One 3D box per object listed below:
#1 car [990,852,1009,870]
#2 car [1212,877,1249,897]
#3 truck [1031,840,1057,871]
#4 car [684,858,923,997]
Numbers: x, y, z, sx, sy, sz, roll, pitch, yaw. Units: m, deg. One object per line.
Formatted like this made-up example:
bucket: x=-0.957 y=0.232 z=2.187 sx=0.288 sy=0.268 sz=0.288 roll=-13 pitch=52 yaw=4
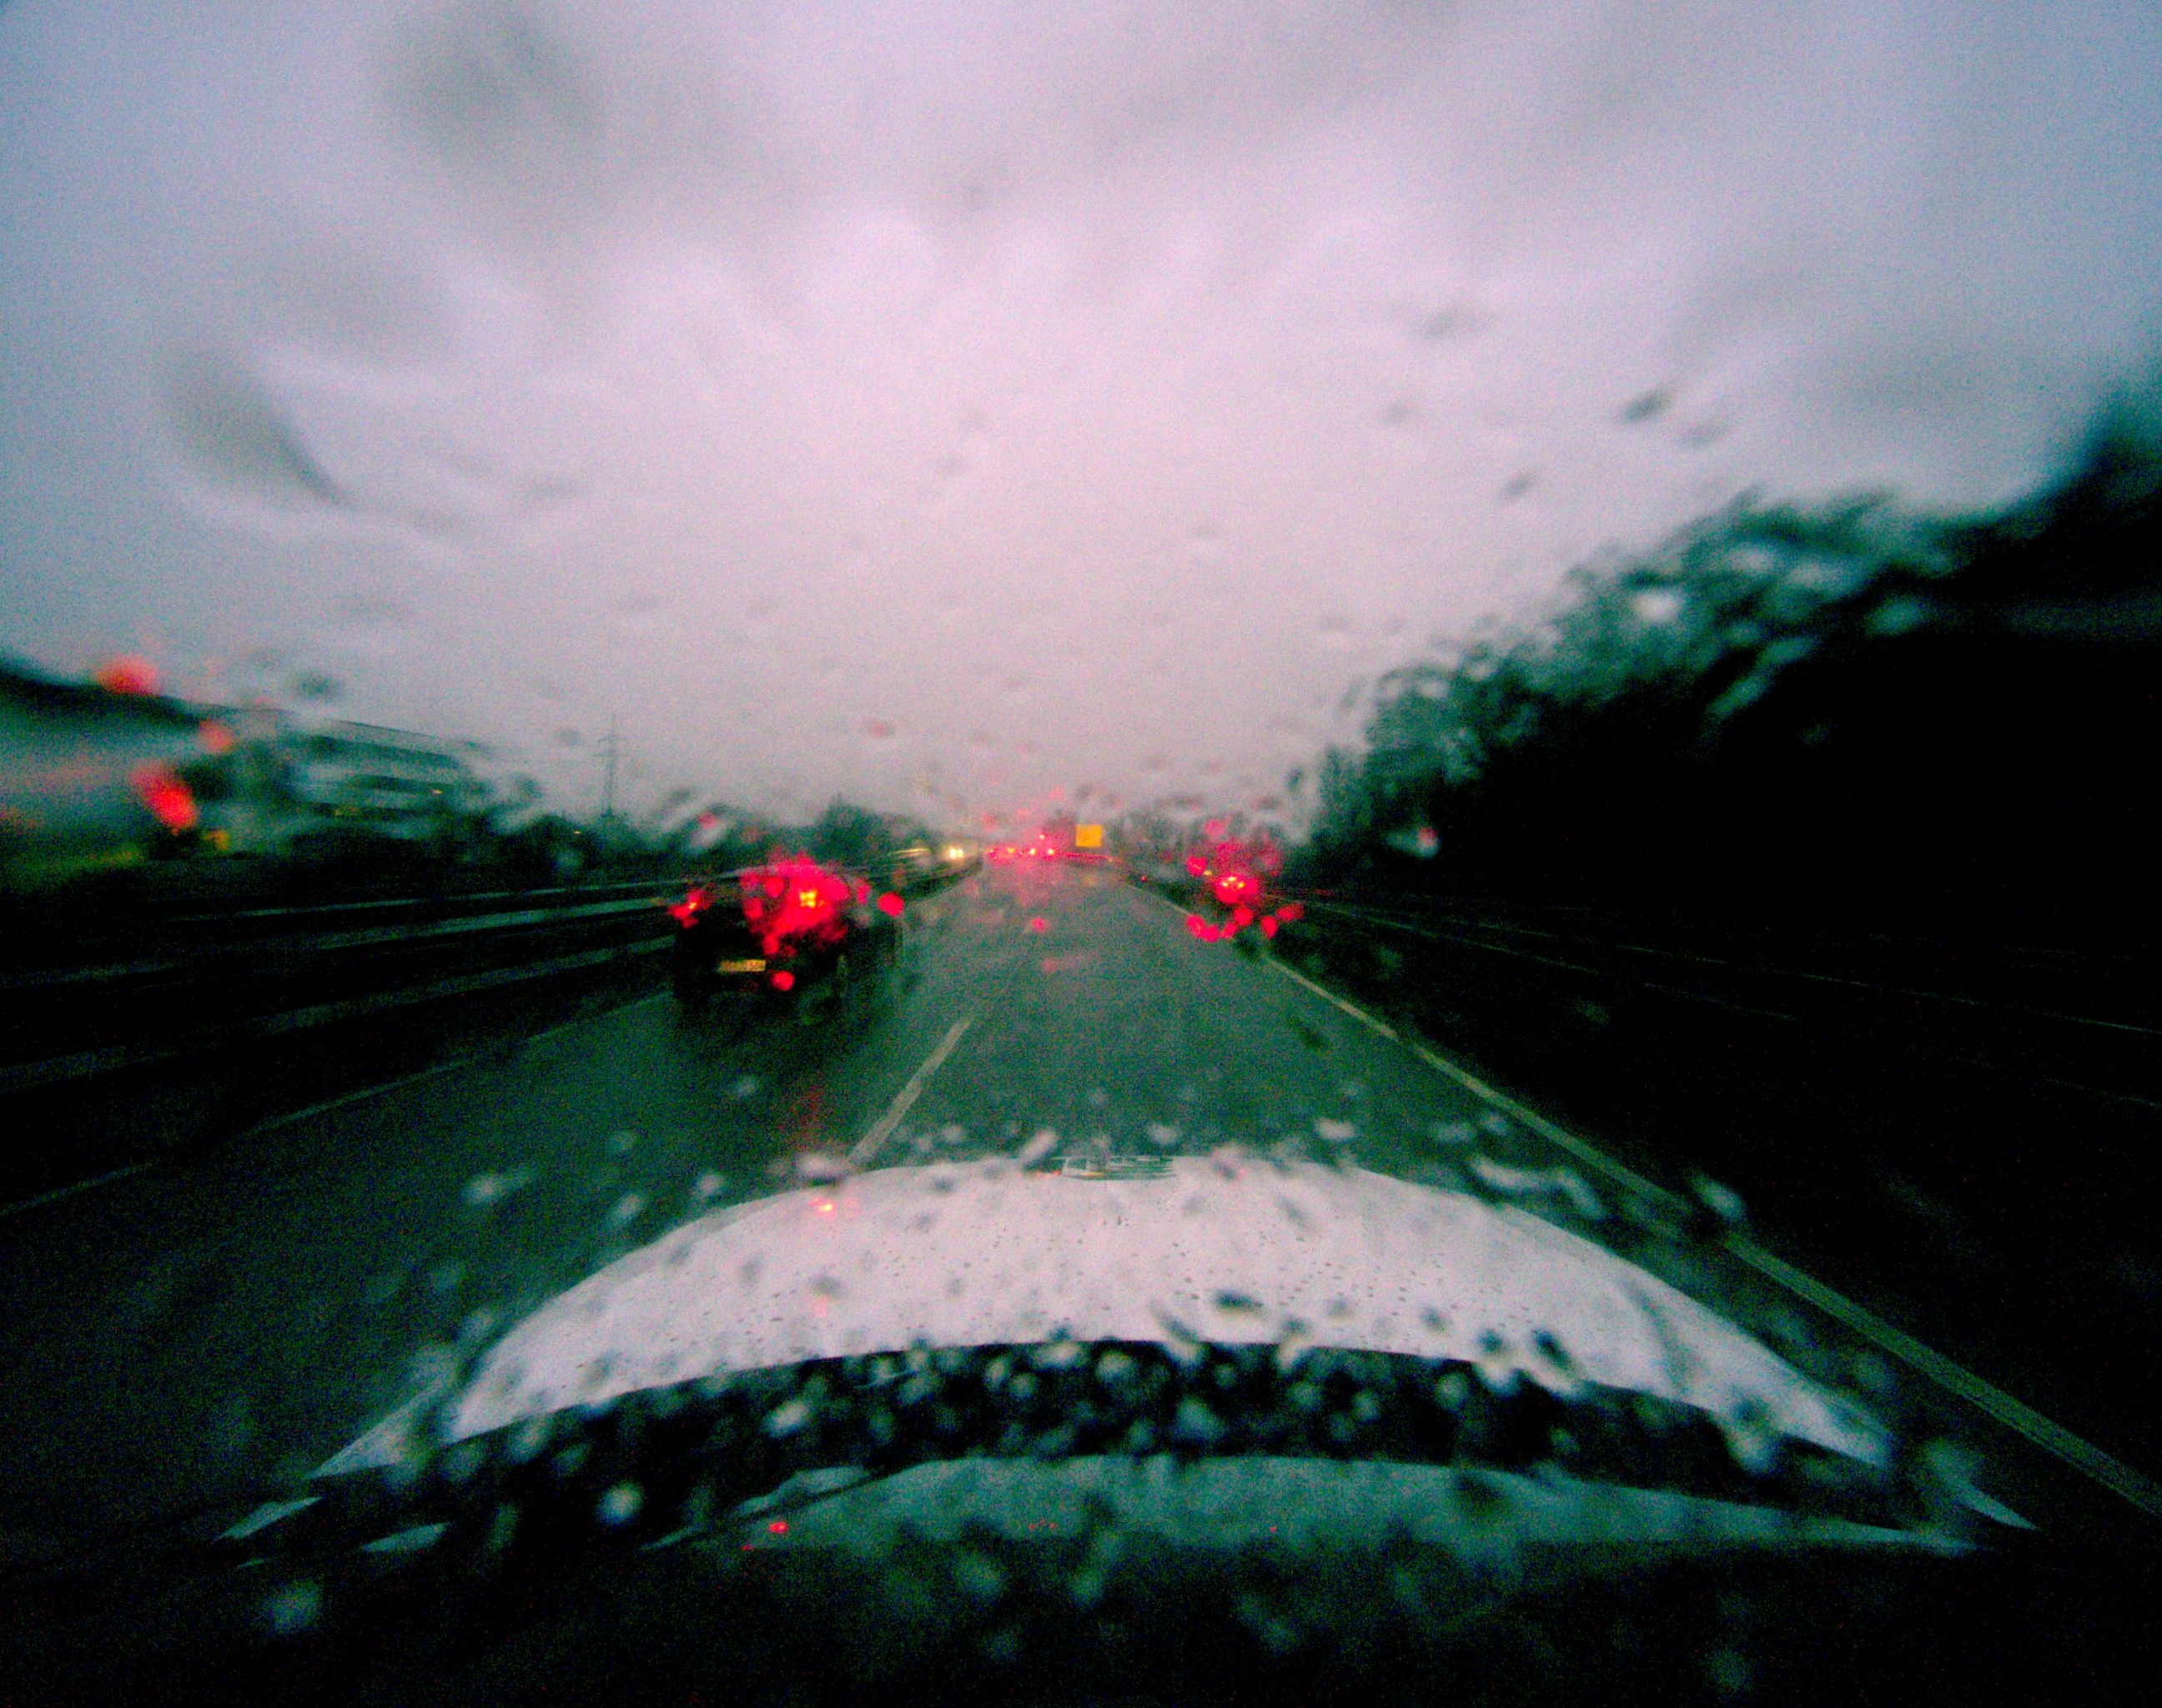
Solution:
car: x=-8.175 y=0.722 z=81.257 sx=1.833 sy=1.538 sz=3.989 roll=1 pitch=-3 yaw=-7
car: x=11.497 y=2.517 z=62.896 sx=1.674 sy=1.281 sz=3.990 roll=7 pitch=-2 yaw=-7
truck: x=-3.790 y=0.192 z=82.570 sx=2.380 sy=2.909 sz=4.662 roll=0 pitch=-3 yaw=-7
car: x=-3.208 y=0.761 z=10.287 sx=1.620 sy=1.392 sz=3.999 roll=1 pitch=0 yaw=0
